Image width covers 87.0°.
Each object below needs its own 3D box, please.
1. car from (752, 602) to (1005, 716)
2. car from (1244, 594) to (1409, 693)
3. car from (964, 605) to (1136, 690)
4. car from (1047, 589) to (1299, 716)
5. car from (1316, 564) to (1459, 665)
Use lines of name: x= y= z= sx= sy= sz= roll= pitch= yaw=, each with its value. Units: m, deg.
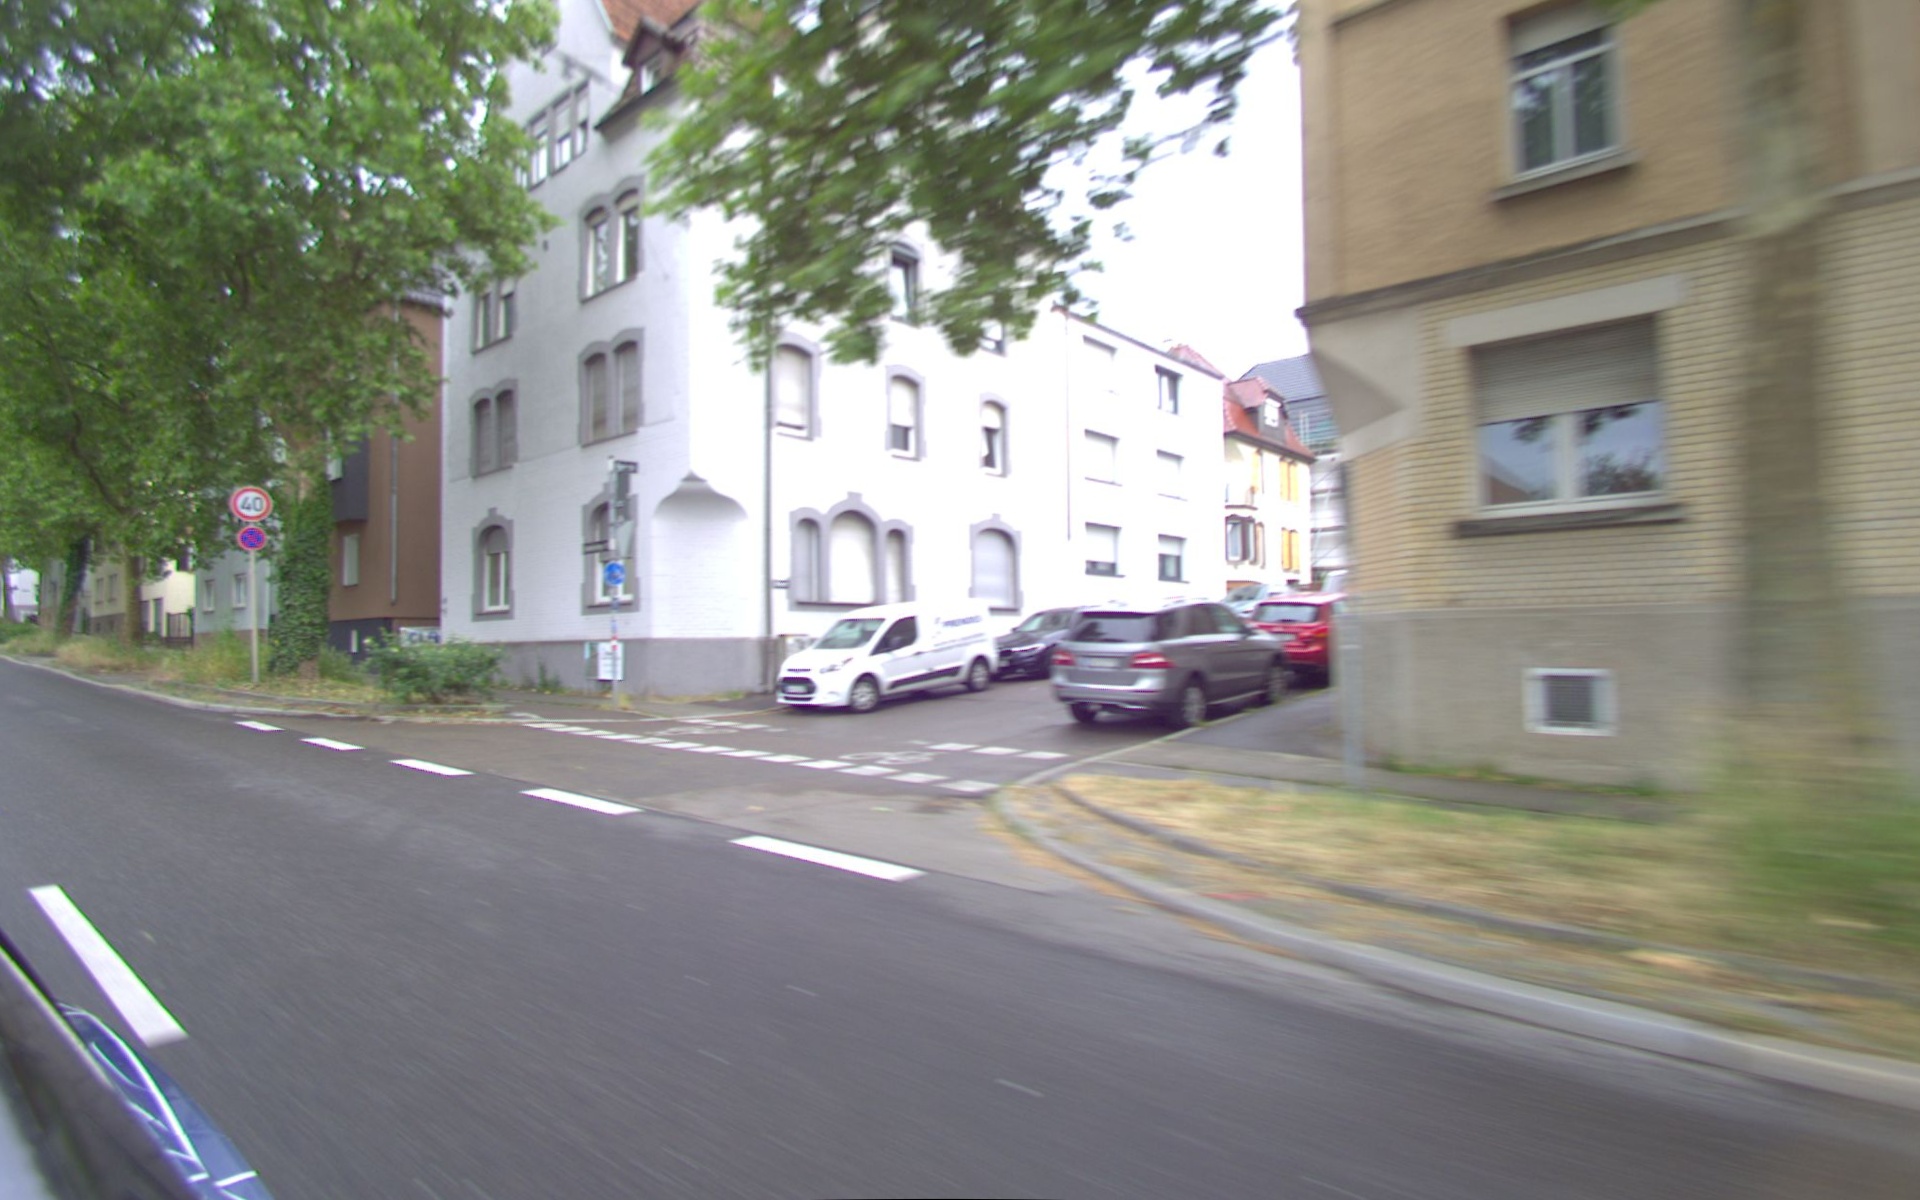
car: x=-1.385 y=0.979 z=18.851 sx=2.019 sy=1.791 sz=4.622 roll=-1 pitch=0 yaw=40
car: x=6.882 y=0.724 z=18.812 sx=1.640 sy=1.529 sz=3.784 roll=-1 pitch=1 yaw=40
car: x=2.079 y=0.983 z=22.440 sx=1.792 sy=1.498 sz=3.946 roll=-1 pitch=2 yaw=41
car: x=3.310 y=0.663 z=15.160 sx=2.041 sy=1.623 sz=4.073 roll=0 pitch=0 yaw=40
car: x=9.625 y=0.249 z=22.618 sx=1.805 sy=1.948 sz=3.990 roll=0 pitch=3 yaw=40
